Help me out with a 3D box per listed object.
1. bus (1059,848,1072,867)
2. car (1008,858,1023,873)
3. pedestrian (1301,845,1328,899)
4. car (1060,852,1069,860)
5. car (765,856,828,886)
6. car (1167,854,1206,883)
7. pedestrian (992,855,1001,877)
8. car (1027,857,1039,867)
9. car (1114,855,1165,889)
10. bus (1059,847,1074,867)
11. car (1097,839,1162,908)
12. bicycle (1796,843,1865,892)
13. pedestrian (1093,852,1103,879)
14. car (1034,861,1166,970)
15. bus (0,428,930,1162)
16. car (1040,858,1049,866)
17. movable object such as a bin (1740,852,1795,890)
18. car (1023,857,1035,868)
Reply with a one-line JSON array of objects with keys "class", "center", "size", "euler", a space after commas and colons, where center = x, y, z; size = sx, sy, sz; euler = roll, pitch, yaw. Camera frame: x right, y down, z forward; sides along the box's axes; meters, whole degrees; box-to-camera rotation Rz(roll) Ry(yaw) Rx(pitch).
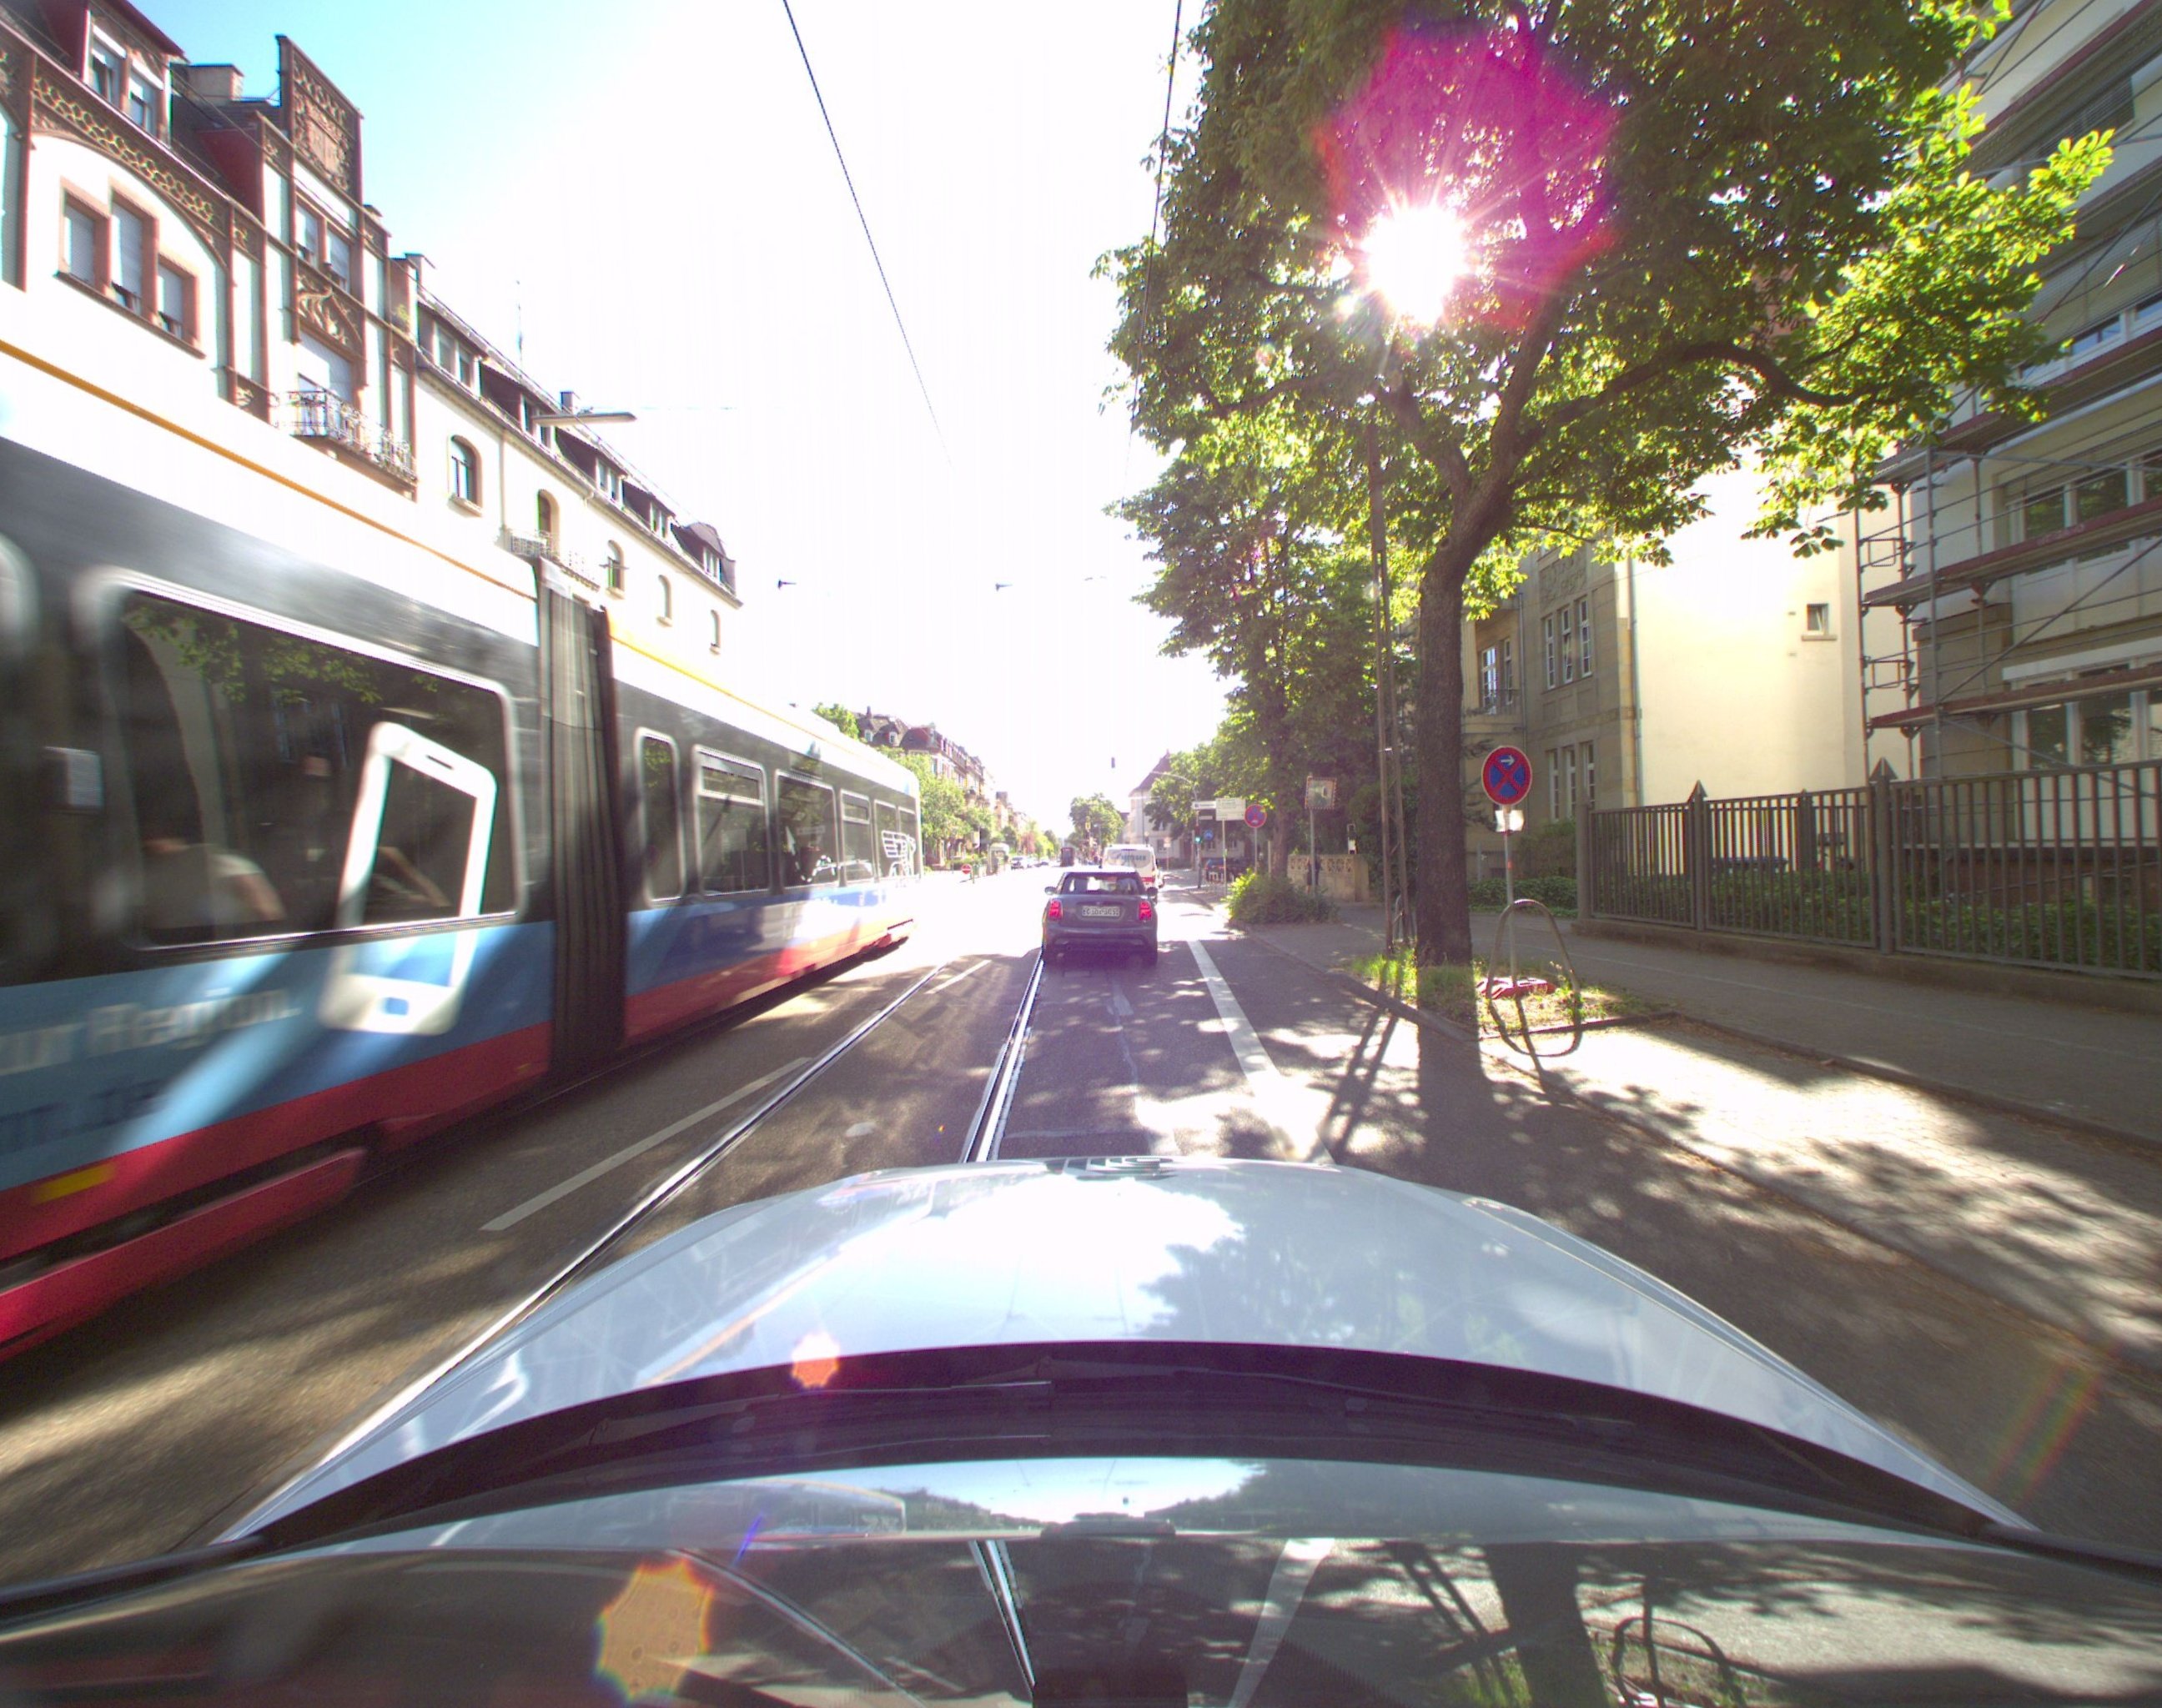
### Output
[{"class": "bus", "center": [-2.934, 0.649, 152.655], "size": [2.380, 3.496, 7.376], "euler": [0, -1, -3]}, {"class": "car", "center": [-8.957, 1.573, 110.944], "size": [1.991, 2.014, 5.018], "euler": [0, -1, -6]}, {"class": "pedestrian", "center": [7.402, 0.581, 25.859], "size": [0.590, 1.671, 0.647], "euler": [-3, -1, 1]}, {"class": "car", "center": [-3.669, 0.426, 178.184], "size": [1.859, 1.563, 3.997], "euler": [0, -1, -2]}, {"class": "car", "center": [-19.682, 1.198, 56.404], "size": [3.949, 2.014, 2.012], "euler": [-1, -1, 29]}, {"class": "car", "center": [6.461, 0.903, 50.410], "size": [1.986, 1.706, 4.001], "euler": [0, -1, 2]}, {"class": "pedestrian", "center": [-7.105, 0.981, 68.330], "size": [0.579, 1.795, 0.604], "euler": [-2, 0, -17]}, {"class": "car", "center": [-7.815, 1.315, 133.580], "size": [1.771, 1.618, 3.997], "euler": [0, -1, -2]}, {"class": "car", "center": [2.937, 0.874, 40.169], "size": [1.980, 1.618, 4.013], "euler": [-1, -1, 12]}, {"class": "bus", "center": [-2.587, 0.577, 145.244], "size": [2.380, 3.496, 7.376], "euler": [0, -1, -3]}, {"class": "car", "center": [1.650, 0.671, 29.002], "size": [2.110, 2.208, 4.945], "euler": [0, -1, 1]}, {"class": "bicycle", "center": [18.702, 0.340, 20.324], "size": [1.697, 1.199, 0.434], "euler": [0, -1, -17]}, {"class": "pedestrian", "center": [1.309, 0.887, 62.870], "size": [0.793, 2.014, 0.740], "euler": [0, -1, 0]}, {"class": "car", "center": [0.315, 0.879, 13.229], "size": [1.809, 1.488, 4.001], "euler": [0, -1, 1]}, {"class": "bus", "center": [-4.385, -0.238, 10.313], "size": [2.841, 3.777, 12.191], "euler": [0, -1, -1]}, {"class": "car", "center": [-7.061, 1.590, 157.561], "size": [1.771, 1.618, 3.997], "euler": [0, -1, -2]}, {"class": "movable object such as a bin", "center": [17.408, 0.426, 20.672], "size": [0.831, 0.955, 0.648], "euler": [0, -1, 0]}, {"class": "car", "center": [-8.046, 1.289, 126.103], "size": [1.771, 1.618, 3.997], "euler": [0, -1, -2]}]
